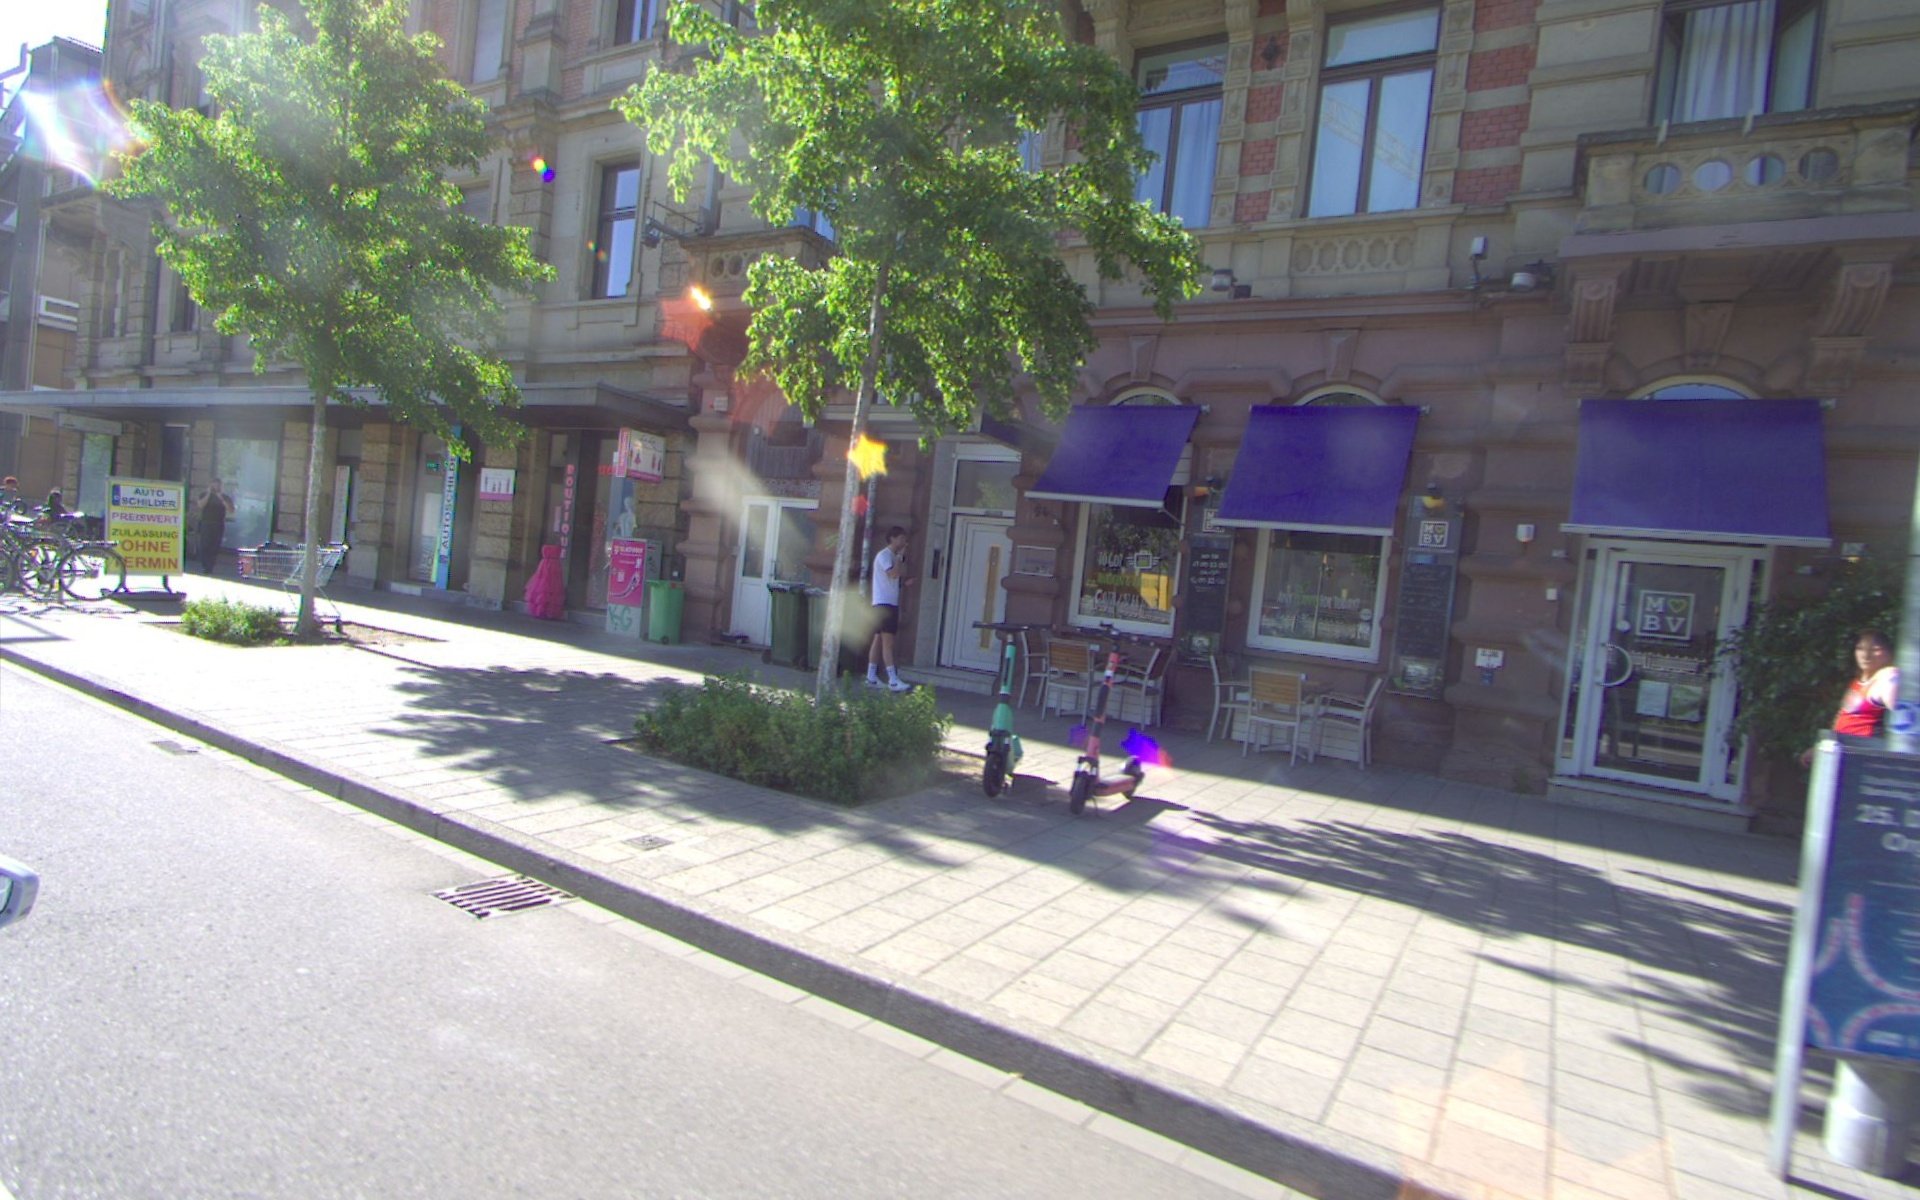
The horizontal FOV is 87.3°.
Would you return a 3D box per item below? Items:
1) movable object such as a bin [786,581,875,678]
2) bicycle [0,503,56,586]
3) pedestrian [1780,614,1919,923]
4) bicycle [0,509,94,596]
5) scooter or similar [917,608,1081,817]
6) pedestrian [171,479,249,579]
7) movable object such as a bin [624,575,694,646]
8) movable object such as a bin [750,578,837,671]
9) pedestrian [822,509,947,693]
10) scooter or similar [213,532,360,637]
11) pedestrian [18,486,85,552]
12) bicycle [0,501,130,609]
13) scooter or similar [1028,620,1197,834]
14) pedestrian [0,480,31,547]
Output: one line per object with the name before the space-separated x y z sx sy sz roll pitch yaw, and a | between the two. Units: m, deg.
movable object such as a bin | -1.619 0.366 12.662 0.734 1.112 0.726 7 2 26
bicycle | -13.755 -0.797 13.799 0.653 1.137 1.917 6 3 25
pedestrian | 5.844 1.013 6.248 0.851 1.754 0.996 6 2 30
bicycle | -12.493 -0.625 13.024 0.653 1.093 1.826 6 3 25
scooter or similar | 0.319 0.709 7.040 0.591 1.233 1.476 7 3 20
pedestrian | -14.222 -1.344 19.090 0.872 1.765 0.844 6 2 31
movable object such as a bin | -4.319 0.156 14.459 0.639 0.928 0.605 7 1 26
movable object such as a bin | -2.175 0.325 13.204 0.734 1.112 0.726 7 1 26
pedestrian | -0.874 0.018 11.768 1.029 2.038 0.819 4 -1 31
scooter or similar | -8.068 -0.171 12.083 0.770 1.121 1.220 8 3 33
pedestrian | -19.642 -1.752 21.758 0.991 1.306 0.832 7 5 32
bicycle | -11.264 -0.539 12.139 0.491 1.250 1.881 6 3 25
scooter or similar | 1.087 0.789 6.897 0.591 1.233 1.475 8 3 27
pedestrian | -20.122 -1.828 21.102 0.994 1.355 0.702 6 5 32
